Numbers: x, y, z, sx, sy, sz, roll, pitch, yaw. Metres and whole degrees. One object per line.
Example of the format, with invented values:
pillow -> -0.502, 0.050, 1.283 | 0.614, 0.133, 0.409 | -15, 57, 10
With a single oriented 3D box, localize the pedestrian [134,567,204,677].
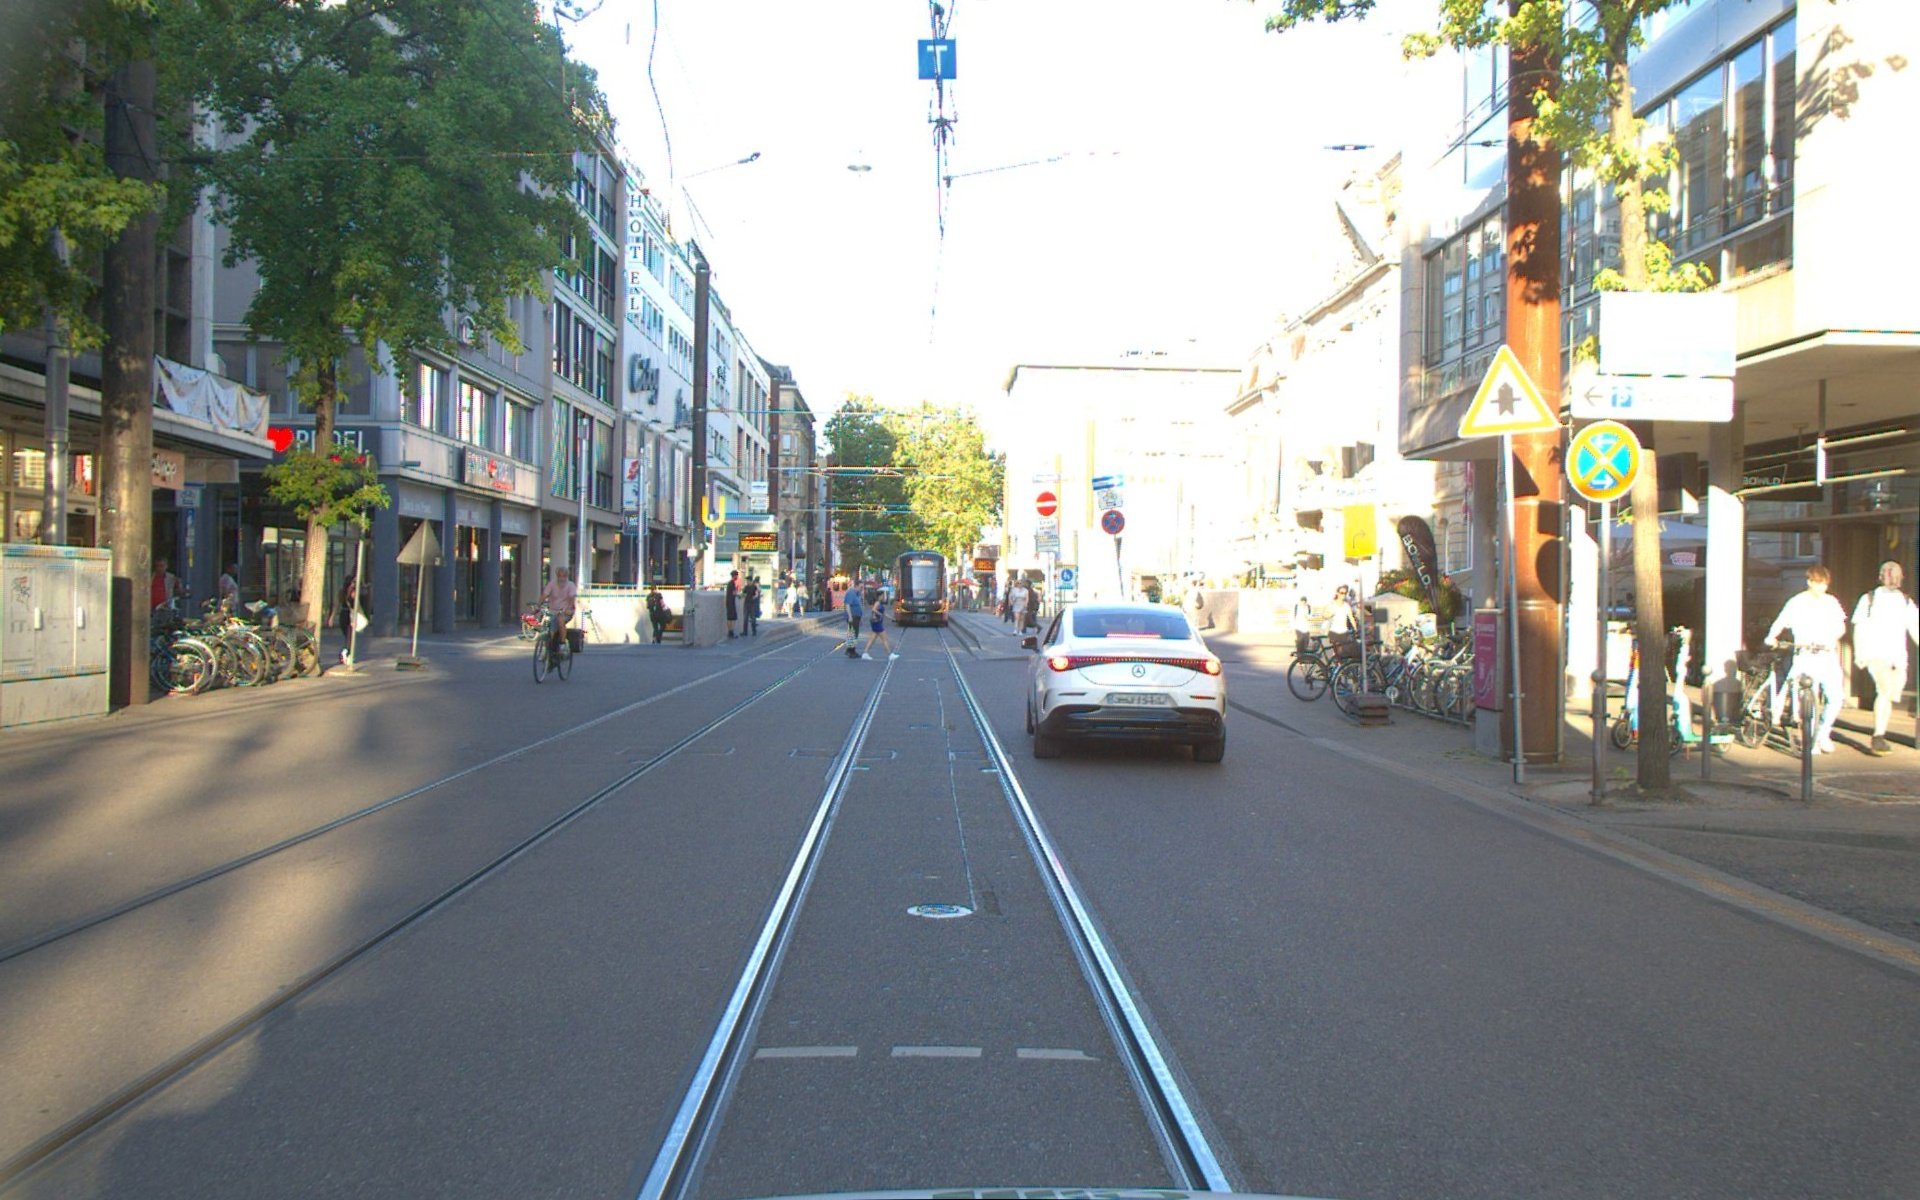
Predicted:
pedestrian -> -13.105, 0.355, 27.417 | 0.800, 1.792, 0.779 | 1, 0, -4

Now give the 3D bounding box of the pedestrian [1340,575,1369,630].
pedestrian -> 13.279, 0.069, 55.696 | 0.708, 1.816, 1.005 | -1, 0, -2

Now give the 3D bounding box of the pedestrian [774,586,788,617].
pedestrian -> -9.441, 0.098, 87.243 | 0.647, 1.627, 0.573 | 1, 0, -3

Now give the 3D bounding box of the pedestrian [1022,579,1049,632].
pedestrian -> 2.419, 0.168, 53.231 | 0.820, 1.691, 0.785 | 1, 0, 1

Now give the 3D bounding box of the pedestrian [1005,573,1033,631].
pedestrian -> 1.769, 0.051, 49.546 | 0.731, 1.728, 0.840 | 1, 0, -4

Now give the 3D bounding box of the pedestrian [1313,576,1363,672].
pedestrian -> 7.255, 0.452, 31.784 | 0.733, 1.816, 0.766 | -1, 0, -2

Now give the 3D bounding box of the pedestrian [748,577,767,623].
pedestrian -> -7.013, -0.011, 57.216 | 0.603, 1.572, 0.650 | 1, 0, -4

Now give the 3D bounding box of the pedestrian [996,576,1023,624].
pedestrian -> 1.861, -0.001, 62.734 | 0.941, 1.816, 0.803 | -1, 0, -2

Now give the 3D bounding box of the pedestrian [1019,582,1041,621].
pedestrian -> 3.310, 0.061, 78.440 | 0.941, 1.816, 0.803 | -1, 0, -2

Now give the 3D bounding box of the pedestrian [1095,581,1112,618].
pedestrian -> 7.077, -0.024, 81.479 | 0.712, 1.816, 0.707 | 1, 0, -2

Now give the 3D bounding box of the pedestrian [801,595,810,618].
pedestrian -> -11.380, 0.479, 121.560 | 0.594, 1.658, 0.413 | 1, 0, -17

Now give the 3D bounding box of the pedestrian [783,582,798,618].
pedestrian -> -7.847, 0.006, 76.435 | 0.647, 1.627, 0.573 | 1, 0, -3

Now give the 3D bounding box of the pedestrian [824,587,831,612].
pedestrian -> -8.836, -0.062, 110.455 | 0.405, 1.658, 0.606 | 1, 0, -1

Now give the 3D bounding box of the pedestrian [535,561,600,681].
pedestrian -> -6.167, 0.321, 26.021 | 0.784, 1.813, 0.848 | 2, 0, -3

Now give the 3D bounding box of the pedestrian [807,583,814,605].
pedestrian -> -10.859, -0.438, 120.039 | 0.405, 1.658, 0.606 | 1, 0, -1

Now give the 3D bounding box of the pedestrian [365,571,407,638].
pedestrian -> -15.188, 0.109, 43.792 | 0.806, 1.736, 0.980 | 1, 0, -3

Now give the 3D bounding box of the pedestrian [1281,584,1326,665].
pedestrian -> 7.873, 0.546, 37.944 | 0.824, 1.816, 0.803 | -1, 0, -2

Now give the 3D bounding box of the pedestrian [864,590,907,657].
pedestrian -> -1.707, 0.531, 38.018 | 0.936, 1.522, 0.944 | 1, 0, -1

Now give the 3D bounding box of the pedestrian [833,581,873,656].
pedestrian -> -2.493, 0.426, 38.660 | 0.886, 1.728, 0.848 | 1, 0, -1

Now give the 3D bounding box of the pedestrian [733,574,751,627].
pedestrian -> -6.899, 0.016, 52.358 | 0.521, 1.641, 0.540 | 1, 0, -7

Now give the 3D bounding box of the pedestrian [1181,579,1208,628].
pedestrian -> 8.251, 0.115, 58.164 | 0.801, 1.714, 0.803 | -1, 0, -2

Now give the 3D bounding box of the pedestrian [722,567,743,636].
pedestrian -> -6.574, 0.038, 47.840 | 0.560, 1.962, 0.540 | 1, 0, -7

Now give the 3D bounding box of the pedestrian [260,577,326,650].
pedestrian -> -14.791, 0.284, 36.706 | 0.961, 1.589, 1.010 | 1, 0, 37

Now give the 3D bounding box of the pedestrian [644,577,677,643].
pedestrian -> -8.113, 0.268, 44.857 | 0.767, 1.747, 0.840 | 1, 0, -4

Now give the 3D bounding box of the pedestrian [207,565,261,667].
pedestrian -> -13.014, 0.277, 29.657 | 0.718, 1.792, 0.808 | 1, 0, -36

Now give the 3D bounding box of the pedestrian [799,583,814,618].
pedestrian -> -7.122, 0.020, 76.534 | 0.647, 1.627, 0.573 | 1, 0, -3

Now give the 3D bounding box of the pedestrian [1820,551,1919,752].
pedestrian -> 8.928, 0.469, 15.891 | 0.687, 1.844, 1.033 | -3, 0, -2

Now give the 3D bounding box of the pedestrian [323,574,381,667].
pedestrian -> -11.033, 0.371, 30.037 | 0.734, 1.651, 0.980 | 1, 0, -4

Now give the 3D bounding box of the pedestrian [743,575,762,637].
pedestrian -> -6.072, 0.178, 48.399 | 0.509, 1.791, 0.550 | 1, 0, -7

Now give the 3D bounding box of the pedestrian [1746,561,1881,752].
pedestrian -> 8.287, 0.538, 16.086 | 0.881, 1.775, 0.689 | -3, 0, -2
